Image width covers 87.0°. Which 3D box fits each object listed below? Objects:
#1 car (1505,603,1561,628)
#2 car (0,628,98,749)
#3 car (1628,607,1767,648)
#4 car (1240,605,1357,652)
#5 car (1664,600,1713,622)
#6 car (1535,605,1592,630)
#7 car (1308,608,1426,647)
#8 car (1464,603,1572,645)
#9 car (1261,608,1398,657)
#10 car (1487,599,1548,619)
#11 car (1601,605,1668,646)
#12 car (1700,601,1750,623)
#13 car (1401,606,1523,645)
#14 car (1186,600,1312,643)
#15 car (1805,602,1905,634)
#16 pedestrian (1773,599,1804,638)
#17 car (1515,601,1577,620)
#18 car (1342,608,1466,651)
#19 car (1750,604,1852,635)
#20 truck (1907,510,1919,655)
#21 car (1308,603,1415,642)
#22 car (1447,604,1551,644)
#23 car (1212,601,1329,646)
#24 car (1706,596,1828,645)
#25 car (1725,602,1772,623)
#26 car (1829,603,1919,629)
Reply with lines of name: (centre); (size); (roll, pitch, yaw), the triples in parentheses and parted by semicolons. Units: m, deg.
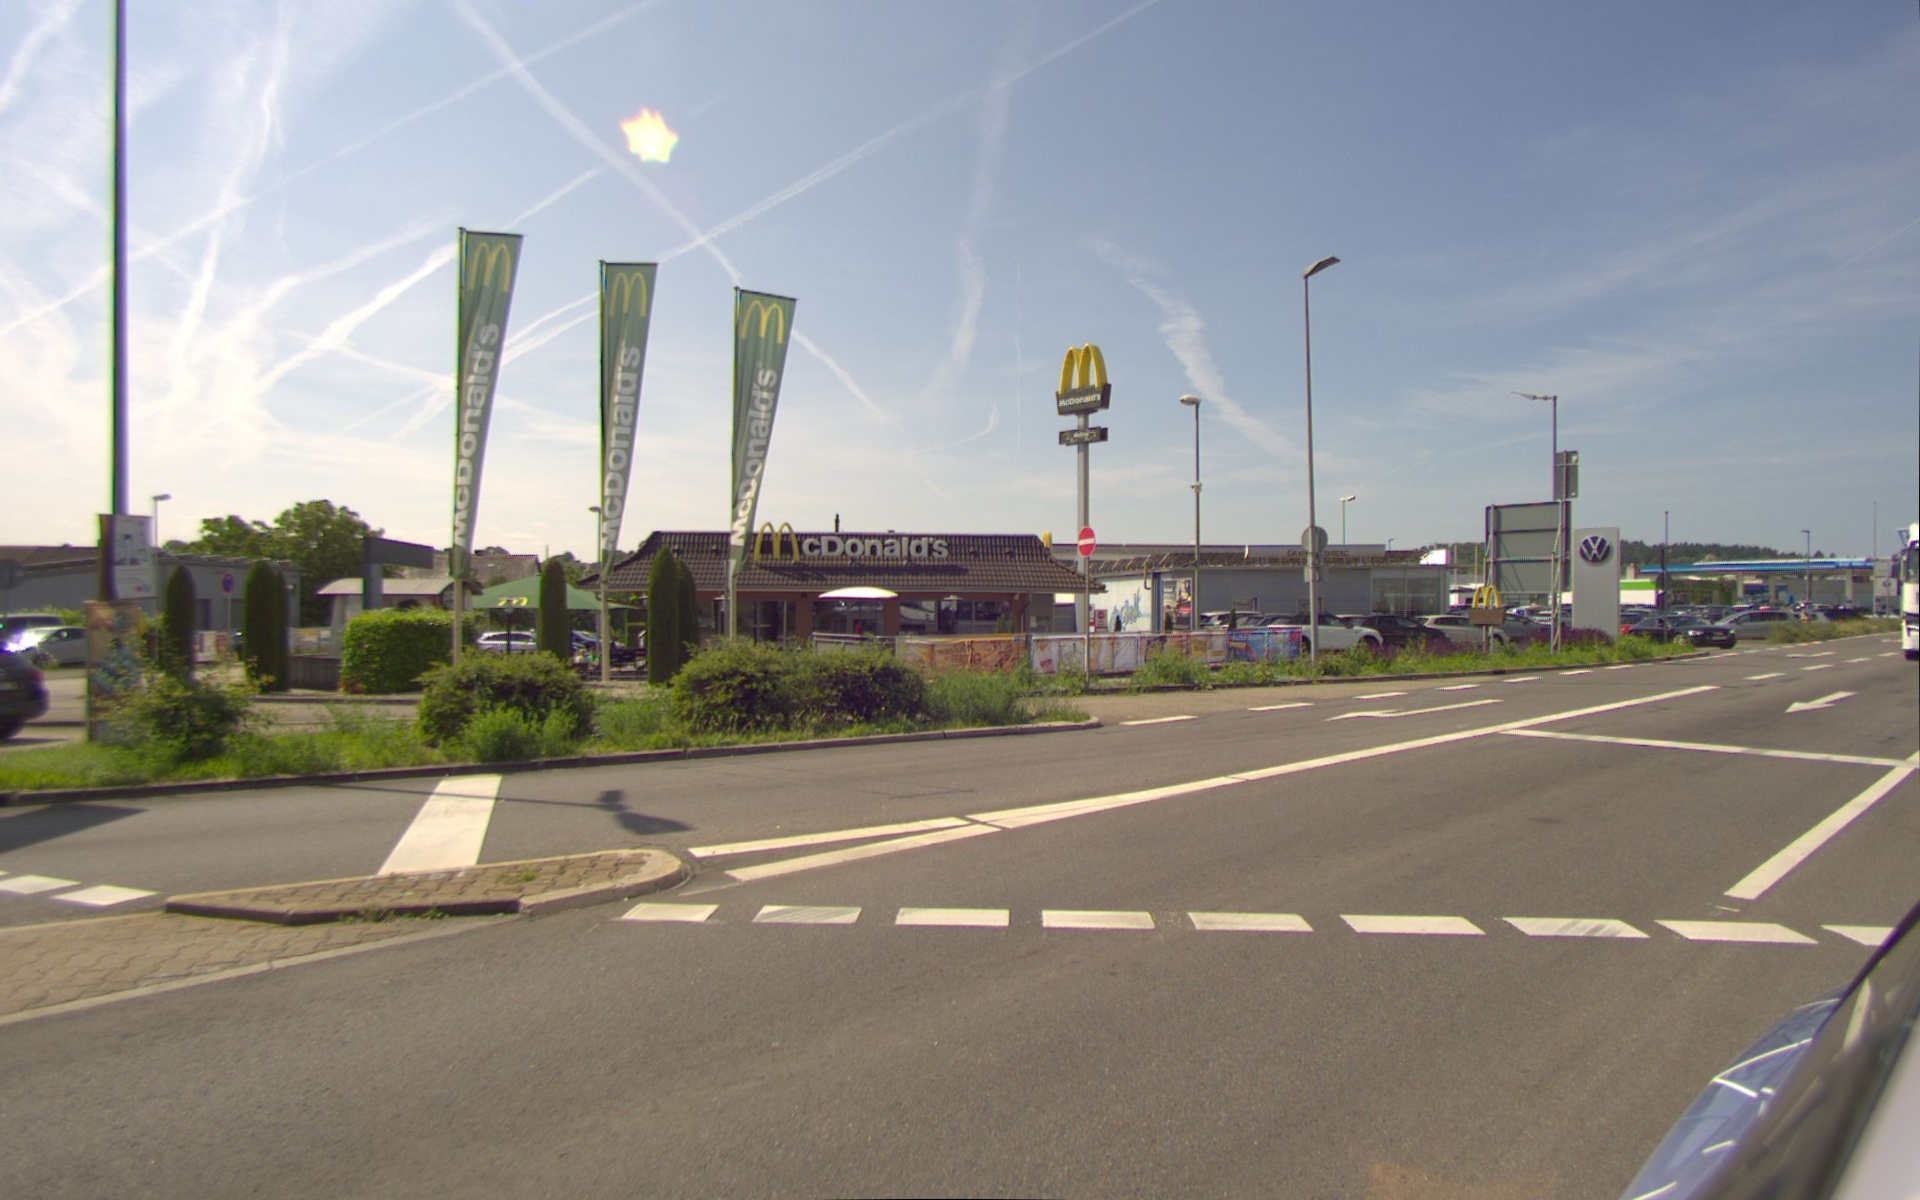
car: (42.294, 1.103, 74.708); (4.451, 1.751, 1.823); (0, 1, -35)
car: (-15.065, 1.193, 14.190); (4.368, 1.538, 1.998); (1, 1, 3)
car: (27.941, 1.081, 38.554); (1.931, 1.350, 4.808); (-4, -3, 4)
car: (12.896, 1.069, 38.676); (3.832, 1.692, 1.778); (1, 0, -4)
car: (57.929, 0.871, 80.442); (4.451, 1.675, 1.776); (0, 1, -35)
car: (42.902, 1.233, 71.915); (4.452, 1.675, 1.776); (0, 1, -35)
car: (16.593, 1.096, 41.388); (4.072, 1.468, 1.798); (1, 1, -4)
car: (24.999, 1.051, 45.505); (3.975, 1.692, 1.764); (1, 1, 20)
car: (13.092, 1.123, 36.005); (4.149, 1.596, 1.863); (1, 1, -4)
car: (46.129, 0.743, 83.721); (4.442, 1.603, 1.827); (1, 1, -18)
car: (29.740, 1.093, 44.709); (1.756, 1.675, 4.044); (-1, 0, 24)
car: (59.063, 0.923, 78.100); (4.451, 1.675, 1.776); (0, 1, -35)
car: (20.764, 1.046, 41.910); (4.179, 1.510, 1.751); (1, 1, -4)
car: (12.200, 0.891, 42.929); (4.722, 1.692, 1.914); (1, 1, -4)
car: (51.902, 1.030, 58.778); (3.946, 1.675, 1.766); (1, 1, 18)
pedestrian: (41.417, 0.913, 50.604); (0.975, 1.935, 0.740); (1, 0, 16)
car: (47.138, 0.832, 81.388); (4.390, 1.449, 1.827); (1, 1, -18)
car: (17.115, 1.120, 39.104); (4.008, 1.551, 1.778); (1, 1, -4)
car: (46.241, 1.046, 55.738); (3.954, 1.578, 1.700); (1, 1, 22)
truck: (29.741, -0.447, 29.174); (5.931, 4.037, 2.648); (0, 1, -38)
car: (17.253, 0.965, 43.581); (3.881, 1.537, 1.778); (1, 1, -4)
car: (25.405, 1.104, 47.835); (3.940, 1.692, 1.913); (1, 1, 13)
car: (12.425, 0.926, 40.694); (4.087, 1.692, 1.778); (1, 0, -4)
car: (39.650, 0.971, 49.855); (4.296, 2.240, 1.752); (1, 0, 21)
car: (63.522, 0.973, 81.508); (4.451, 1.600, 1.776); (0, 1, -35)
car: (64.270, 1.106, 71.115); (4.488, 1.675, 1.762); (1, 1, 24)
